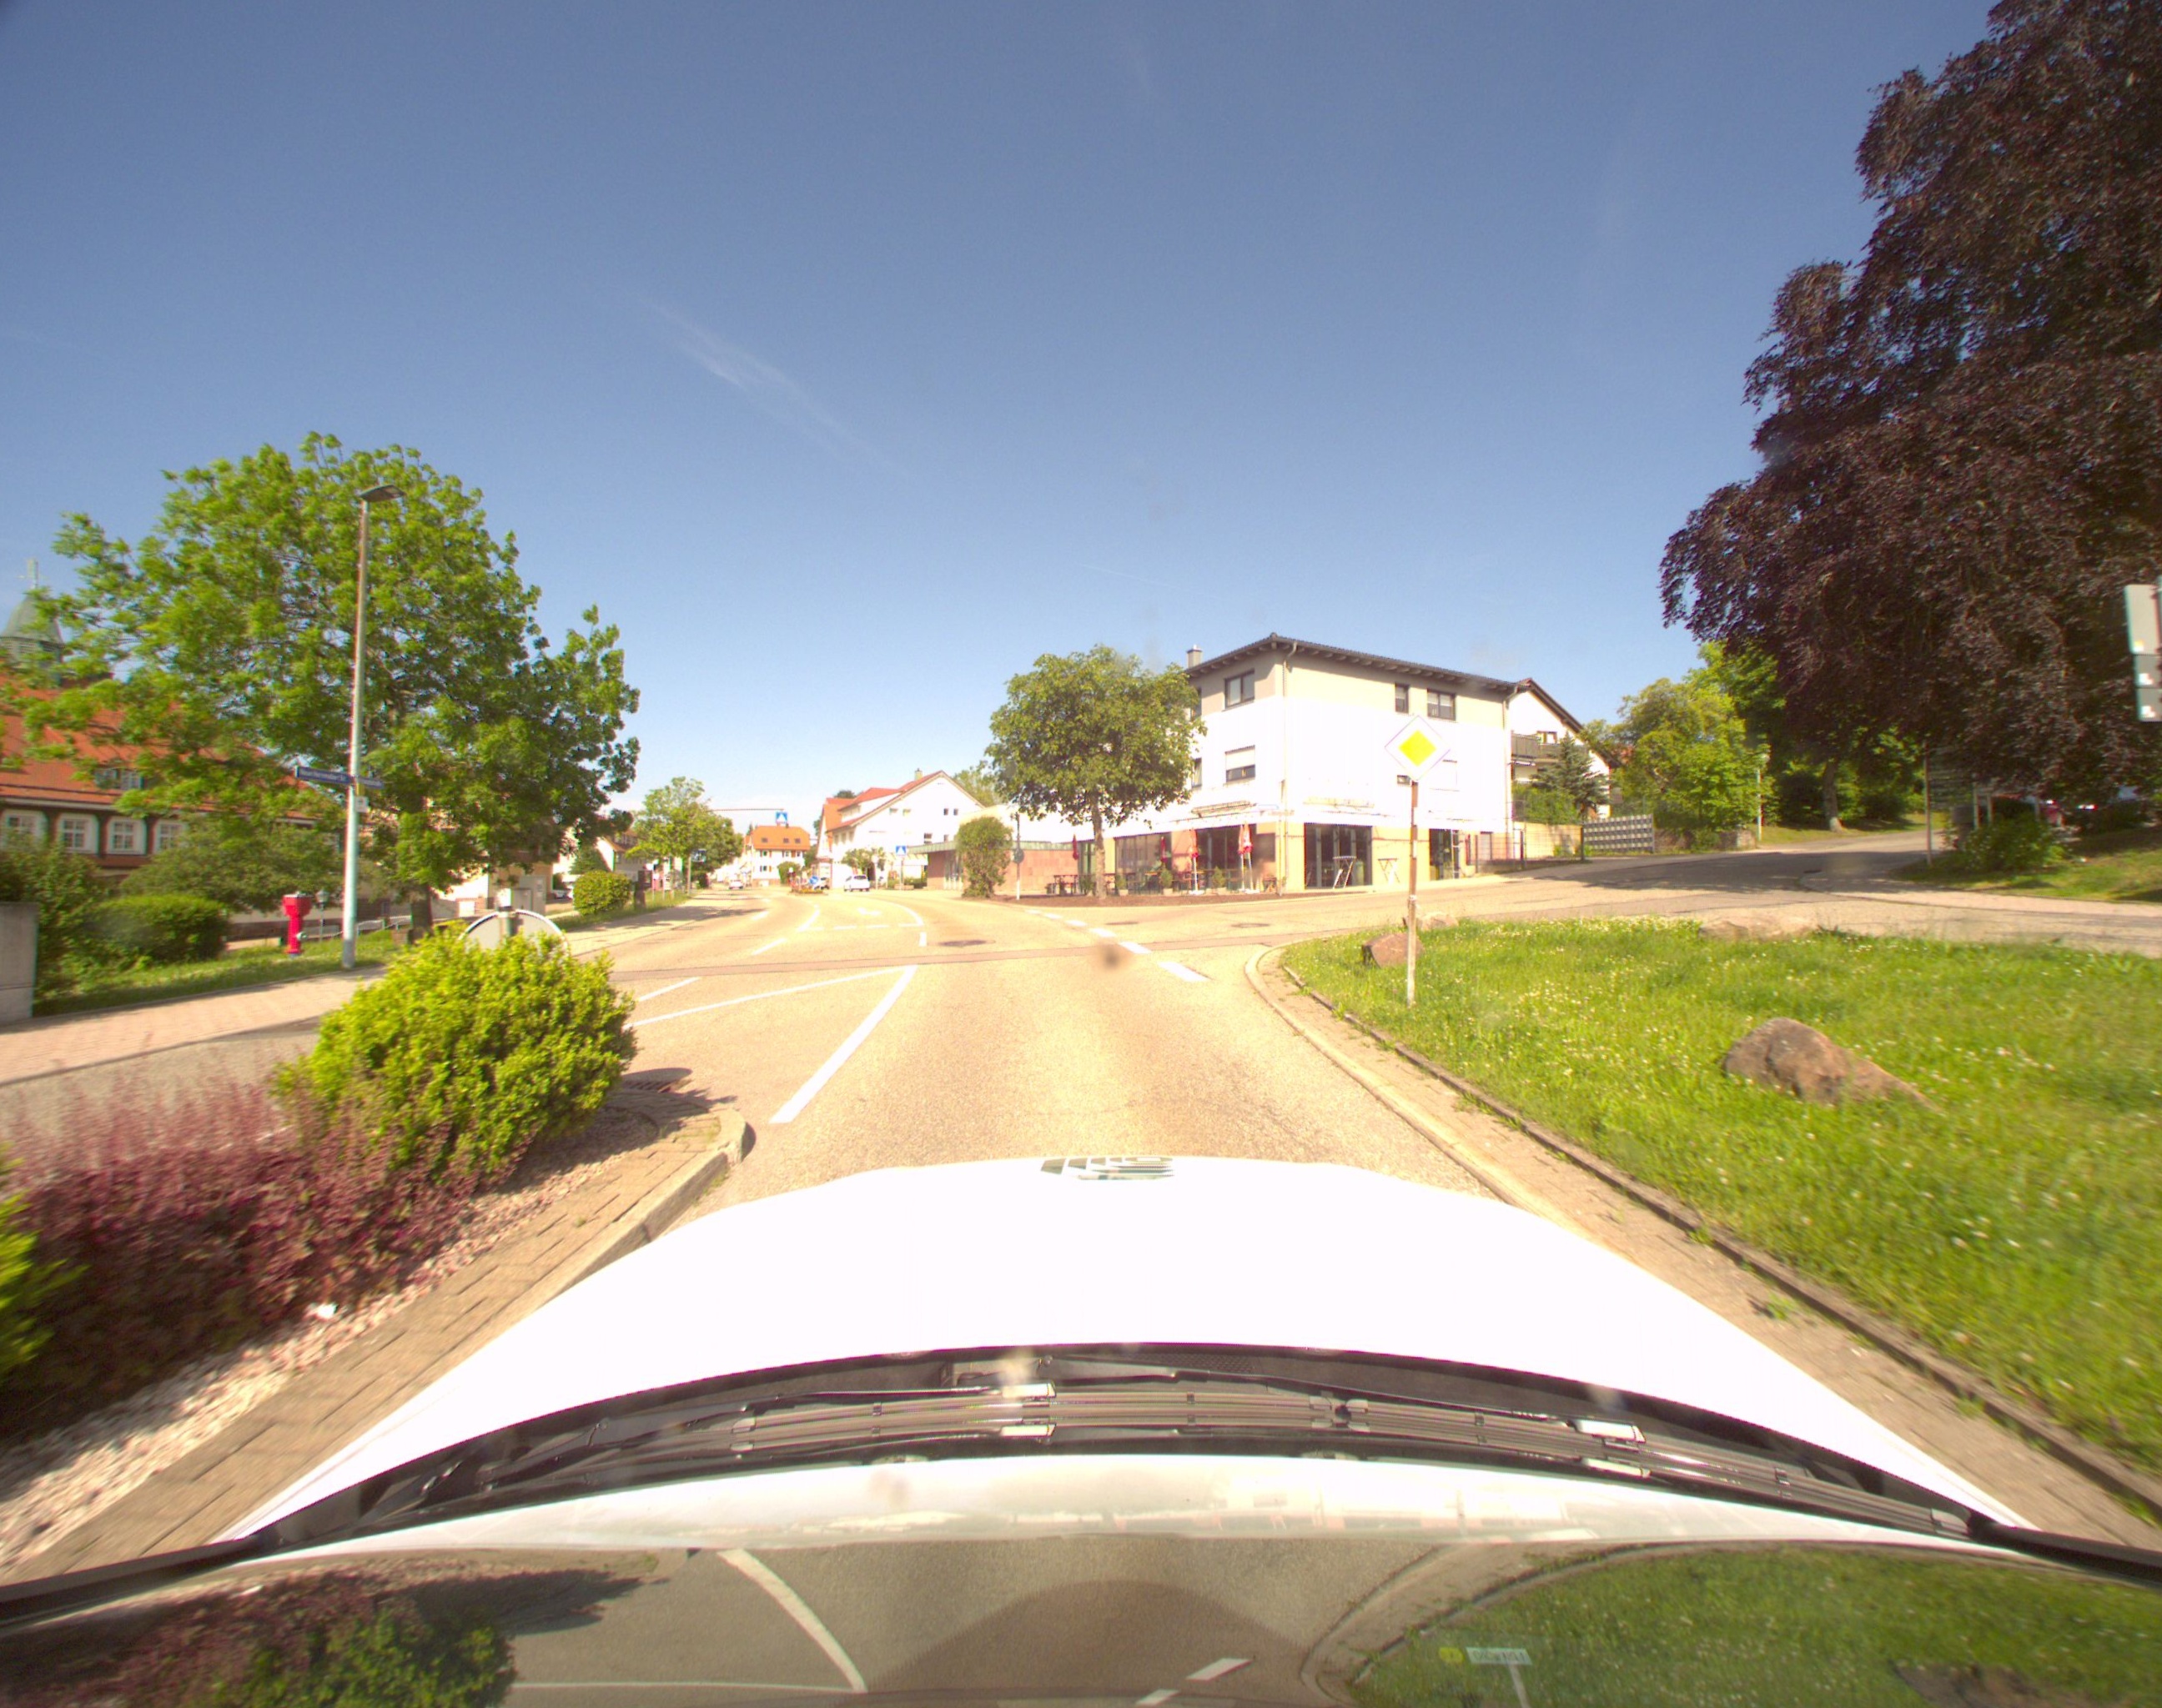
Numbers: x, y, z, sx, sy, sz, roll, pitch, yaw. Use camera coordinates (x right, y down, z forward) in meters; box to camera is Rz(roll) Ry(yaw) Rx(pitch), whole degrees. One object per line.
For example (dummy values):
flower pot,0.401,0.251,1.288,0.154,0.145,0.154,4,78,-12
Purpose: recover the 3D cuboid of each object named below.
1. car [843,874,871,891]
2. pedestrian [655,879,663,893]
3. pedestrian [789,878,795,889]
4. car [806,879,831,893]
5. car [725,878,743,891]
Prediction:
car,-19.612,2.488,71.215,1.769,1.423,3.603,-2,-1,-25
pedestrian,-39.406,2.967,76.076,0.633,1.253,0.419,-3,-1,-31
pedestrian,-45.178,4.633,127.241,0.803,1.784,0.972,-2,-2,-23
car,-28.186,3.417,87.428,1.646,1.420,3.895,-2,-1,-31
car,-60.802,5.341,142.577,2.510,2.014,4.264,-3,-1,-28
